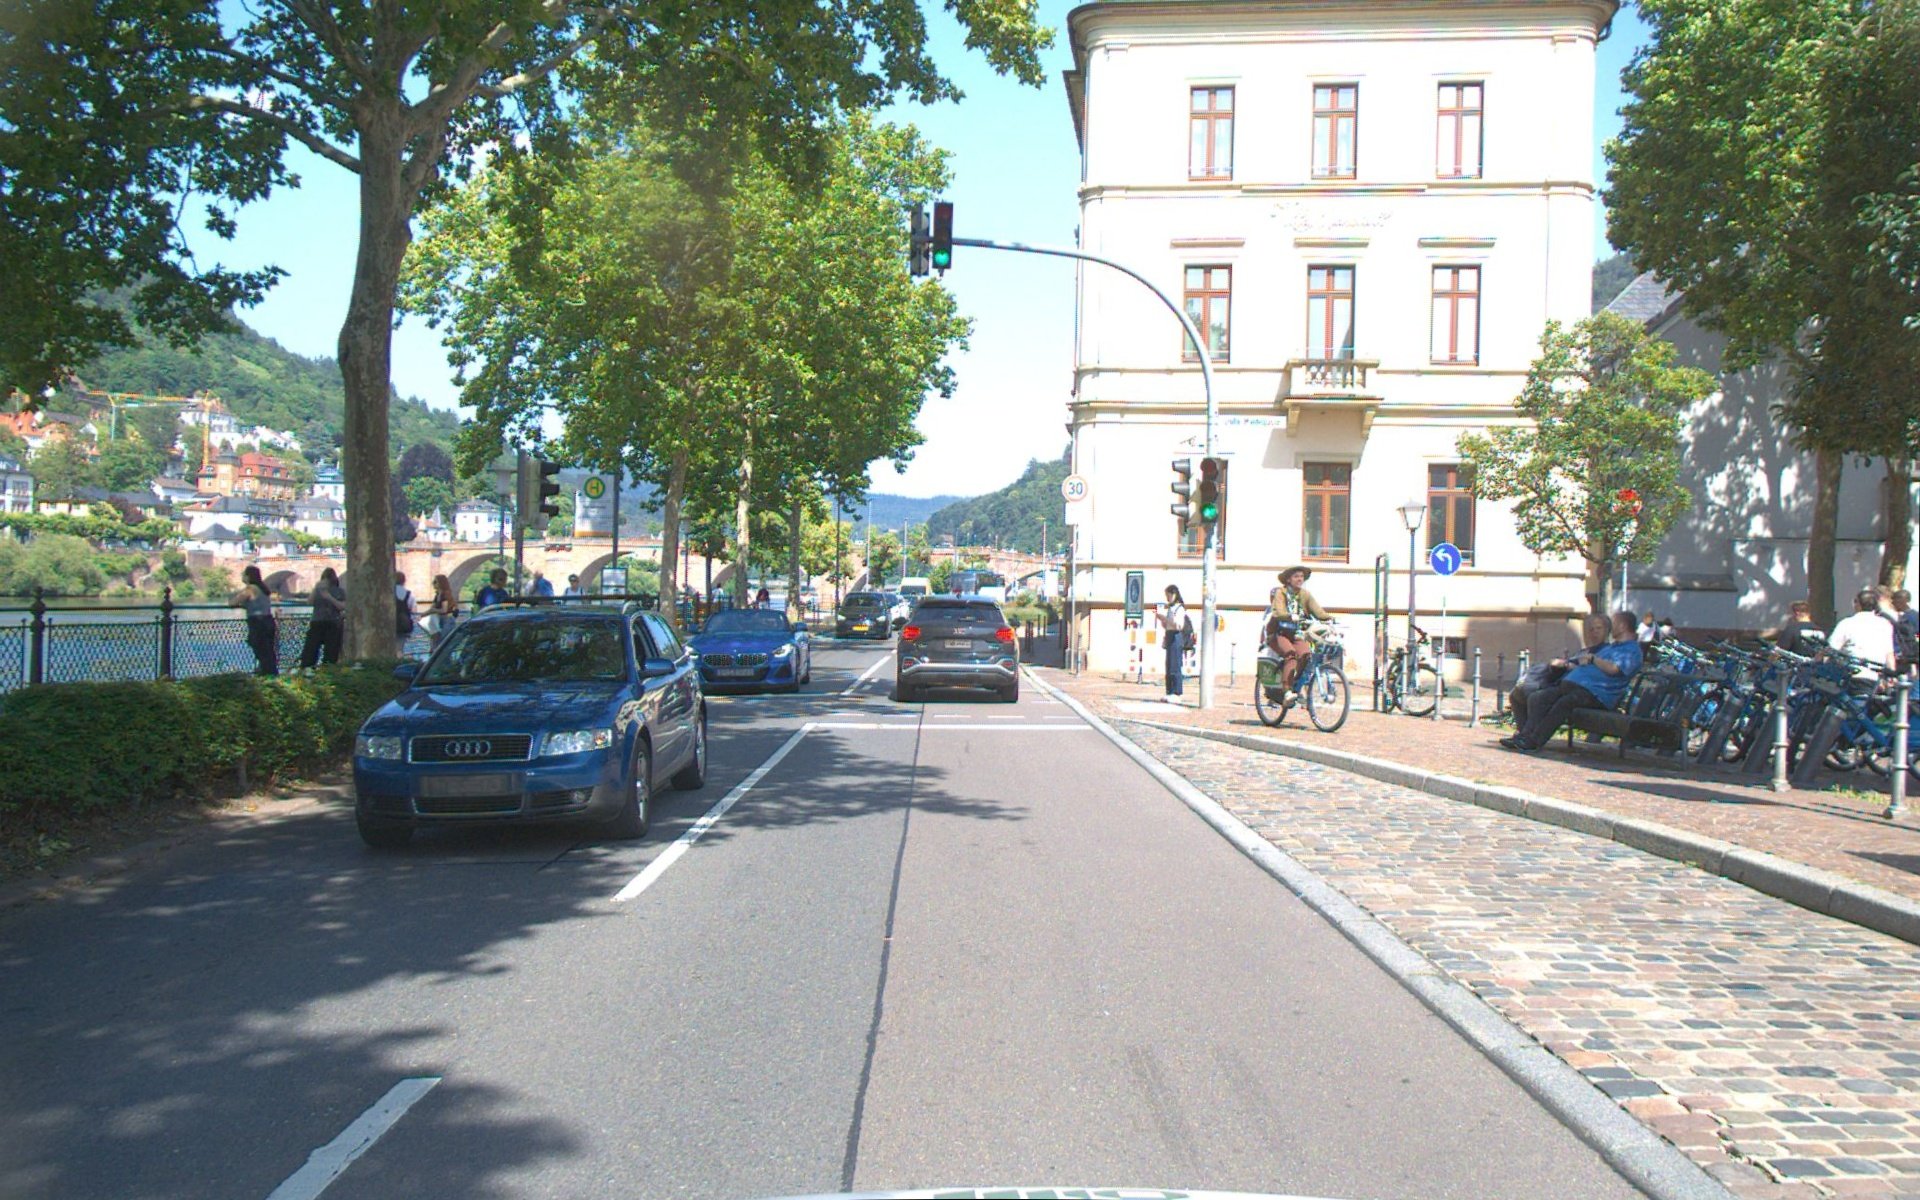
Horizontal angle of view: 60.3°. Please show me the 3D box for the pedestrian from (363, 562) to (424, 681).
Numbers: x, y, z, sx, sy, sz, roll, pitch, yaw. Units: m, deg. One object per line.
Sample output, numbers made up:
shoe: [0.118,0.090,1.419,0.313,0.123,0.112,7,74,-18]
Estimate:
pedestrian: [-8.414,0.315,24.603,0.639,1.743,0.793,0,0,-1]

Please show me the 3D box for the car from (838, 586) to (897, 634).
car: [-3.100,0.318,56.327,1.666,1.544,4.405,-1,0,1]

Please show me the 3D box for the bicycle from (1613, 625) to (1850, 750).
bicycle: [7.621,0.861,16.386,2.038,1.104,0.604,3,1,-2]

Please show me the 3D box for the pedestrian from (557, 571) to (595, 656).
pedestrian: [-7.529,0.263,32.478,0.483,1.646,0.991,1,0,-1]

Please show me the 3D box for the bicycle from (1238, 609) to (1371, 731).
bicycle: [3.487,0.684,16.931,0.676,1.149,2.006,1,0,-8]

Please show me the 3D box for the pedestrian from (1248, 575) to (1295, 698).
pedestrian: [4.497,0.518,23.908,0.516,1.742,0.665,1,0,-1]

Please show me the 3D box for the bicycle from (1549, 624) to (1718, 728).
bicycle: [8.045,0.906,19.784,1.756,1.129,0.563,3,1,-2]

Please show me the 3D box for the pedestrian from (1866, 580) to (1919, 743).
pedestrian: [11.873,0.752,20.525,0.794,1.976,0.782,2,0,-30]

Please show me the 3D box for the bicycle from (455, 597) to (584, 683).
bicycle: [-5.955,0.534,22.325,1.798,0.941,0.738,7,3,40]

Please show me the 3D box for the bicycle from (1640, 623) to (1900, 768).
bicycle: [7.645,0.888,15.666,2.038,1.219,0.776,3,1,-2]

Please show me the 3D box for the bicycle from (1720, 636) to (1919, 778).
bicycle: [7.658,0.909,14.065,1.984,1.084,0.800,3,1,-2]

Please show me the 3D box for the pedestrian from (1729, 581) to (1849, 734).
pedestrian: [10.081,0.684,20.124,0.977,1.796,0.917,2,0,-33]

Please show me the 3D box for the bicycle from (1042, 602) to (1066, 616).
bicycle: [7.007,0.679,122.991,1.772,0.893,0.502,3,1,3]

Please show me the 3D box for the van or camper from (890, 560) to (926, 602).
van or camper: [-3.396,-1.220,109.485,2.044,2.601,7.092,2,0,1]

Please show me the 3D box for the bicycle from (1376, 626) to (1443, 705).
bicycle: [6.105,0.904,22.525,0.497,1.021,1.580,2,-3,2]

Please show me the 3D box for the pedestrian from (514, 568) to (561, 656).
pedestrian: [-8.765,0.246,34.364,0.697,1.795,0.972,1,0,-1]

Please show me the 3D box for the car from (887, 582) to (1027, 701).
car: [-0.080,0.555,25.090,1.887,1.580,4.831,1,0,-1]

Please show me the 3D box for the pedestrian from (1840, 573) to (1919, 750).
pedestrian: [10.872,0.698,19.220,0.643,1.994,0.936,1,0,-16]

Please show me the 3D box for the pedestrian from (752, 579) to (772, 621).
pedestrian: [-8.320,-0.002,69.407,0.643,1.711,0.758,4,0,-1]

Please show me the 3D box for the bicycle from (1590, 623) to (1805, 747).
bicycle: [8.007,0.912,17.996,2.038,1.219,0.608,3,1,-2]

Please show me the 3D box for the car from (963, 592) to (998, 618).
car: [1.278,0.274,102.205,1.886,1.580,4.834,0,0,4]

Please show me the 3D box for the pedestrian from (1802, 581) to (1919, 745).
pedestrian: [10.158,0.692,18.604,0.790,1.784,0.904,1,0,-19]

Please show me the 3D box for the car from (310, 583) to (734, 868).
car: [-2.762,0.708,11.487,1.666,1.544,4.405,-2,0,1]

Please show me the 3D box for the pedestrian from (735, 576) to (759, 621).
pedestrian: [-7.735,-0.066,60.003,0.746,1.614,0.696,1,0,-1]

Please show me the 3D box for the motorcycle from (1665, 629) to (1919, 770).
motorcycle: [7.603,0.882,14.880,2.160,1.123,0.776,3,1,-2]

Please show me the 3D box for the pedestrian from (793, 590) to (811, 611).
pedestrian: [-9.792,0.022,102.746,0.916,1.303,0.850,1,0,8]

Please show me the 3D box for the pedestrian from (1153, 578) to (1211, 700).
pedestrian: [3.183,0.550,23.764,0.701,1.705,0.682,1,0,-1]

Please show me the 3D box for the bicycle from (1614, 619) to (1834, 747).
bicycle: [8.024,0.861,17.394,2.038,1.219,0.527,3,1,-2]

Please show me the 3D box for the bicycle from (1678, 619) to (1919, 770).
bicycle: [7.665,0.837,14.882,2.038,1.219,0.776,3,1,-2]

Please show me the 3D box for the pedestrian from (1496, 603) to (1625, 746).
pedestrian: [5.726,0.700,15.805,0.941,1.304,0.693,2,0,-3]

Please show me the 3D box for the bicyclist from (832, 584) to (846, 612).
bicyclist: [-7.083,-0.088,96.801,0.704,1.611,1.089,1,0,1]

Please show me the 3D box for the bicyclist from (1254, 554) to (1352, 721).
bicyclist: [3.513,0.379,16.996,0.695,1.656,0.885,1,0,-8]

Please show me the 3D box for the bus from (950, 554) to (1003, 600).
bus: [1.566,-1.974,146.114,2.575,3.626,12.993,1,-1,10]

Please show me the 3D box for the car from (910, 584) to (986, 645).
car: [-0.337,0.351,44.103,1.887,1.486,4.831,1,0,-1]

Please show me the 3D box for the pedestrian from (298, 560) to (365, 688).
pedestrian: [-8.764,0.334,23.074,0.606,1.730,0.696,2,0,-1]

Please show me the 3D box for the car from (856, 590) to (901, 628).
car: [-3.479,0.407,69.813,1.701,1.544,4.399,0,-1,-5]

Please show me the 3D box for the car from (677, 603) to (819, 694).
car: [-3.340,0.724,26.829,1.803,1.291,4.261,-2,0,-1]

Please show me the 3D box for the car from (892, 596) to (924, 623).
car: [-2.949,0.558,94.909,1.666,1.484,4.002,1,0,0]

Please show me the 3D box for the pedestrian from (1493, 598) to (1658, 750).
pedestrian: [5.613,0.664,15.123,1.222,1.330,0.693,1,0,-3]

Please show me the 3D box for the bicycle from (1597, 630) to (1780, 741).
bicycle: [8.202,0.954,18.660,1.756,1.129,0.608,3,1,-2]

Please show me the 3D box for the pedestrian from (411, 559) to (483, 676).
pedestrian: [-7.841,0.271,25.320,0.818,1.743,0.782,1,0,-1]

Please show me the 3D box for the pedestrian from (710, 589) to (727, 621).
pedestrian: [-12.484,0.277,85.573,0.679,1.644,0.664,1,0,7]

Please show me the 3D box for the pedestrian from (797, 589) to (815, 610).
pedestrian: [-9.668,-0.030,103.618,0.916,1.303,0.850,1,0,8]

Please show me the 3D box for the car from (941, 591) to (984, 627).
car: [0.079,0.401,75.354,1.887,1.580,4.831,0,0,0]

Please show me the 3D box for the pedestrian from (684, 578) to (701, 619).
pedestrian: [-13.088,-0.062,80.898,0.679,1.979,0.886,1,0,-1]

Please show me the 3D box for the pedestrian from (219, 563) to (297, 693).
pedestrian: [-9.213,0.365,21.721,0.538,1.636,0.911,4,0,-1]

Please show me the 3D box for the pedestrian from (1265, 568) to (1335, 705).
pedestrian: [4.779,0.506,23.263,0.612,1.884,0.719,2,0,-40]

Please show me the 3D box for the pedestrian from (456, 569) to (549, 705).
pedestrian: [-6.262,0.488,22.642,1.006,1.804,0.765,1,0,40]
